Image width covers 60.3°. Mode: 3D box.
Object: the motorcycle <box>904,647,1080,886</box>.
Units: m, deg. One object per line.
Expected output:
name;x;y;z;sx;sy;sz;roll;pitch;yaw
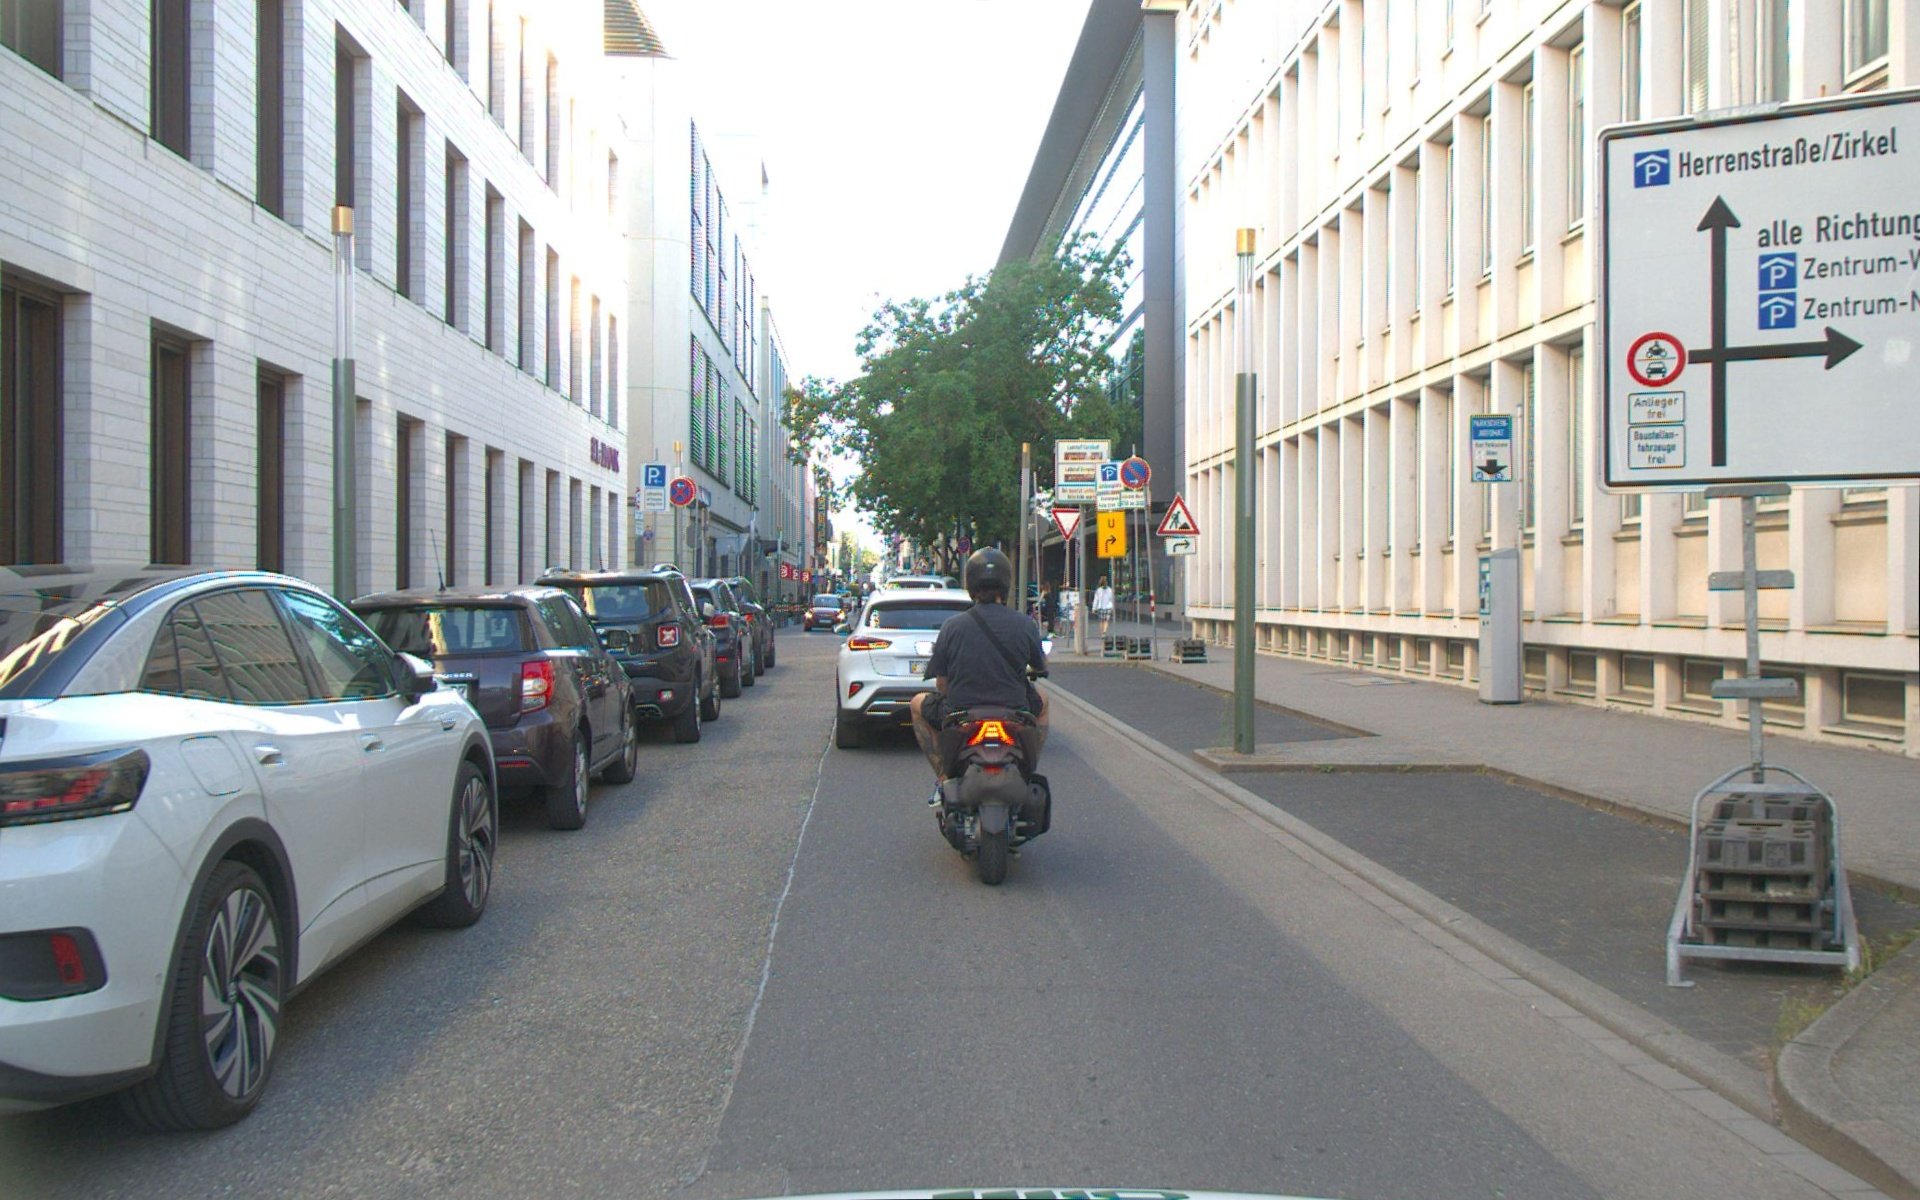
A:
motorcycle;0.132;0.845;9.055;0.855;1.128;1.839;1;-1;-2

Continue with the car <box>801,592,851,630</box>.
car;-5.590;0.488;69.365;1.785;1.491;4.262;0;-2;-1

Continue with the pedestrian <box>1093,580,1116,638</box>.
pedestrian;4.011;0.249;45.851;0.548;1.611;0.598;1;-1;-1

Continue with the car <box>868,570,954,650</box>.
car;-1.185;0.184;38.359;1.786;1.674;4.491;-2;1;-4

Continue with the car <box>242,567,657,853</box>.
car;-3.311;0.599;11.622;1.786;1.568;4.261;-2;1;-4

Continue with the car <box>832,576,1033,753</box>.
car;-0.376;0.542;16.813;1.786;1.568;4.261;0;1;-4

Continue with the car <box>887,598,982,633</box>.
car;-1.388;0.815;89.020;4.908;1.525;1.998;-4;0;-6

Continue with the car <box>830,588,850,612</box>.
car;-12.645;-0.019;174.187;1.955;2.369;5.015;2;0;-5

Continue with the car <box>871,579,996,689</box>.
car;-0.508;0.482;26.973;1.786;1.568;4.361;-2;1;-4

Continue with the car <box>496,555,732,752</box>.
car;-3.453;0.462;17.202;1.786;1.744;4.015;-2;1;-4

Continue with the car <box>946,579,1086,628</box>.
car;2.041;0.124;61.379;4.908;1.477;1.998;-4;0;-6

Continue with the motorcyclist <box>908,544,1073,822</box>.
motorcyclist;0.155;0.441;8.922;0.849;1.452;0.455;1;-1;-2

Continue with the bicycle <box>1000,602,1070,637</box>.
bicycle;2.250;0.582;49.694;2.057;1.012;0.519;1;-1;9

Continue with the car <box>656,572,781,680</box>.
car;-4.195;0.394;29.302;1.786;1.707;4.260;-2;1;-4

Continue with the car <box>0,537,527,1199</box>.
car;-2.948;0.648;5.836;1.786;1.568;4.444;-2;1;-2

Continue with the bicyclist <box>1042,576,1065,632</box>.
bicyclist;2.816;0.115;49.607;0.616;1.654;0.498;1;-1;10

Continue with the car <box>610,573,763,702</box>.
car;-3.819;0.456;23.716;1.705;1.622;4.151;-2;1;-4
